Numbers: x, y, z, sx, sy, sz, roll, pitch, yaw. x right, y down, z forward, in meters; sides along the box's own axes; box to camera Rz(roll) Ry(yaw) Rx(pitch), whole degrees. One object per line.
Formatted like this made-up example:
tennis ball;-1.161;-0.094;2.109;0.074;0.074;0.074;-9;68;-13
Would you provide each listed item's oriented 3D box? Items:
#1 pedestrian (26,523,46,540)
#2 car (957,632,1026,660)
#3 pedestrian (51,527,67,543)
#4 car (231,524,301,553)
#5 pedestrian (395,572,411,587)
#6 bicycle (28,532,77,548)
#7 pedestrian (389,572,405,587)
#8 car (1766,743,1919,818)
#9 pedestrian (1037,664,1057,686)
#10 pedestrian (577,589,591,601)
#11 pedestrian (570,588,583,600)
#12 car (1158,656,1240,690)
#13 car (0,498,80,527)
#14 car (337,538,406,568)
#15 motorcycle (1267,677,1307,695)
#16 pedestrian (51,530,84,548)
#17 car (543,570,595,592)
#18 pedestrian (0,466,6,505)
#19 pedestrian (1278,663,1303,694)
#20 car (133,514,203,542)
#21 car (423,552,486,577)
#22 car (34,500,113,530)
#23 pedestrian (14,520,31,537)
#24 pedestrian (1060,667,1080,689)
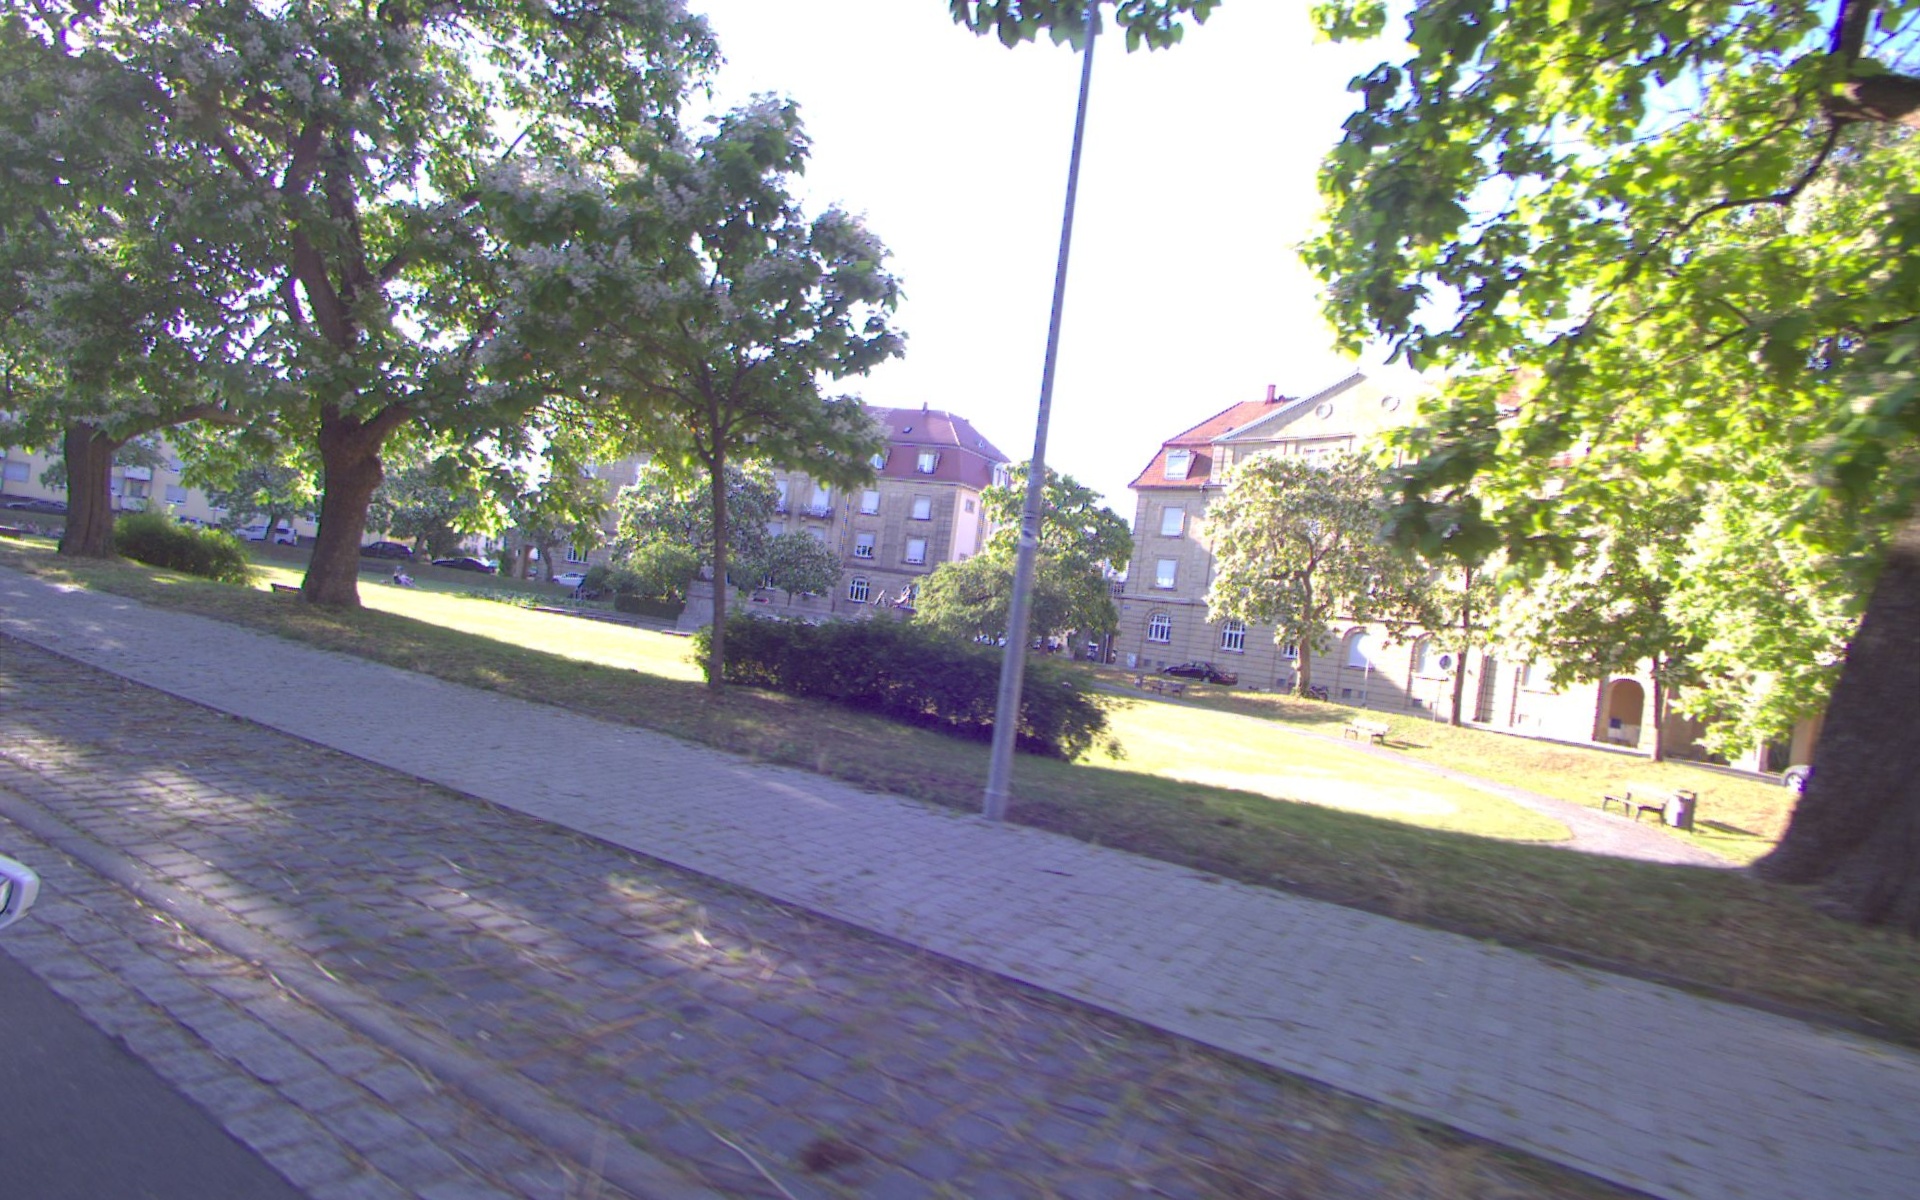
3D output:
pedestrian;-54.037;-3.998;58.838;0.712;0.822;0.612;7;-2;33
car;2.319;3.417;75.095;4.877;1.434;1.813;6;-1;39
pedestrian;-52.825;-3.794;58.986;0.602;0.822;0.473;7;-1;33
car;-59.278;-5.226;85.999;4.468;1.767;1.870;8;-1;-24
pedestrian;-32.742;-1.188;59.101;0.578;0.803;0.666;7;-1;-11
bicycle;-51.313;-3.396;56.899;1.755;0.622;1.796;9;-2;-34
pedestrian;-32.596;-1.192;58.253;0.578;0.803;0.666;7;-1;-11
car;25.810;5.167;28.863;1.785;1.434;4.374;7;-1;2
pedestrian;4.051;3.495;46.916;0.570;0.891;0.674;8;-2;-21
pedestrian;-28.245;-0.376;75.594;0.655;0.803;0.587;7;-1;20
pedestrian;-28.910;-0.475;75.875;0.655;0.803;0.587;7;-1;20
car;14.636;4.445;61.864;1.802;1.434;4.906;8;-1;-33
car;-67.608;-6.391;73.939;4.176;1.373;1.675;8;-1;-38
car;-48.901;-3.886;83.694;4.456;1.767;1.875;8;-1;-15
motorcycle;17.177;4.535;52.807;1.829;0.679;0.681;6;-1;34
pedestrian;-51.874;-3.543;58.472;1.240;0.822;0.573;9;-1;-13
car;-35.910;-1.732;92.417;3.926;1.470;1.881;7;-1;0
pedestrian;-17.101;-1.509;17.259;0.719;1.756;0.726;7;-1;32
pedestrian;17.311;4.116;52.744;0.935;1.493;0.681;7;0;34
car;-61.408;-5.578;78.082;3.959;1.570;1.597;8;-1;-31
car;-42.932;-2.970;85.555;4.292;1.470;1.879;7;-1;-7
car;-70.128;-6.683;79.703;4.493;1.588;1.860;8;-1;-40
pedestrian;-53.561;-4.089;57.475;0.602;0.822;0.473;7;-1;33
pedestrian;5.086;3.610;46.710;0.570;0.891;0.674;8;-2;-21
